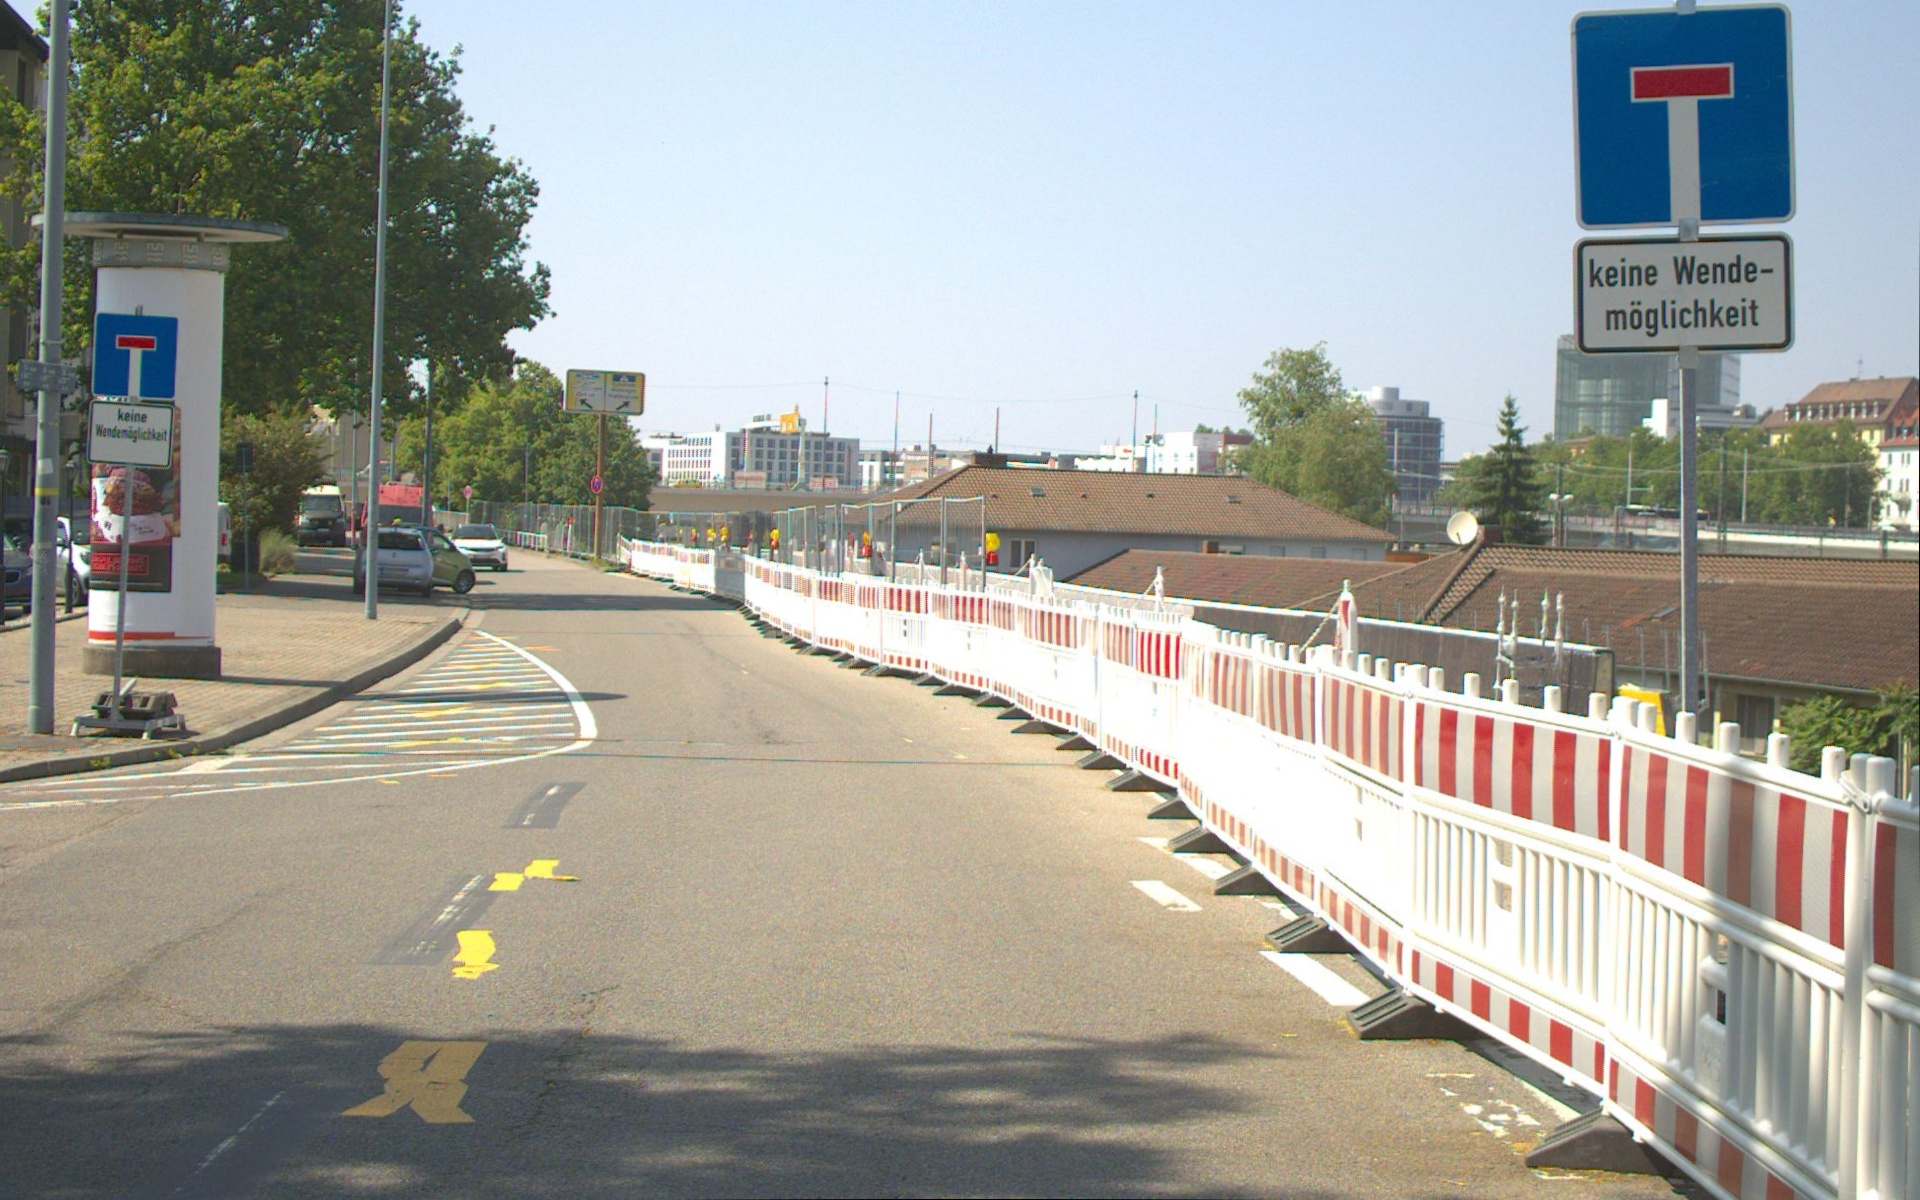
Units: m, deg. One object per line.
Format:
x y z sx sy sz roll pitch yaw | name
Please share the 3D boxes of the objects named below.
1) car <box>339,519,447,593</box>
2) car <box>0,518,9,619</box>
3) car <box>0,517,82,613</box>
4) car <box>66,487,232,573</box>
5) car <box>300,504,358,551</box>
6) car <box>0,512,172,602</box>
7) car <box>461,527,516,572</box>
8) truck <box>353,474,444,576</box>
-12.351 -0.979 75.100 1.869 1.493 4.032 1 2 -3 | car
-15.633 -0.469 51.137 1.667 1.468 4.000 -2 2 -34 | car
-15.744 -0.579 55.738 1.667 1.468 4.000 -2 2 -34 | car
-20.328 -1.757 86.262 3.921 1.952 1.760 3 1 -13 | car
-27.648 -3.147 150.767 1.936 1.828 3.924 5 0 -4 | car
-15.187 -0.761 59.309 1.776 1.468 4.000 -2 2 -34 | car
-15.354 -1.635 111.995 1.716 1.411 4.079 1 0 -8 | car
-15.370 -2.019 94.326 2.237 2.639 5.683 1 0 -8 | truck
